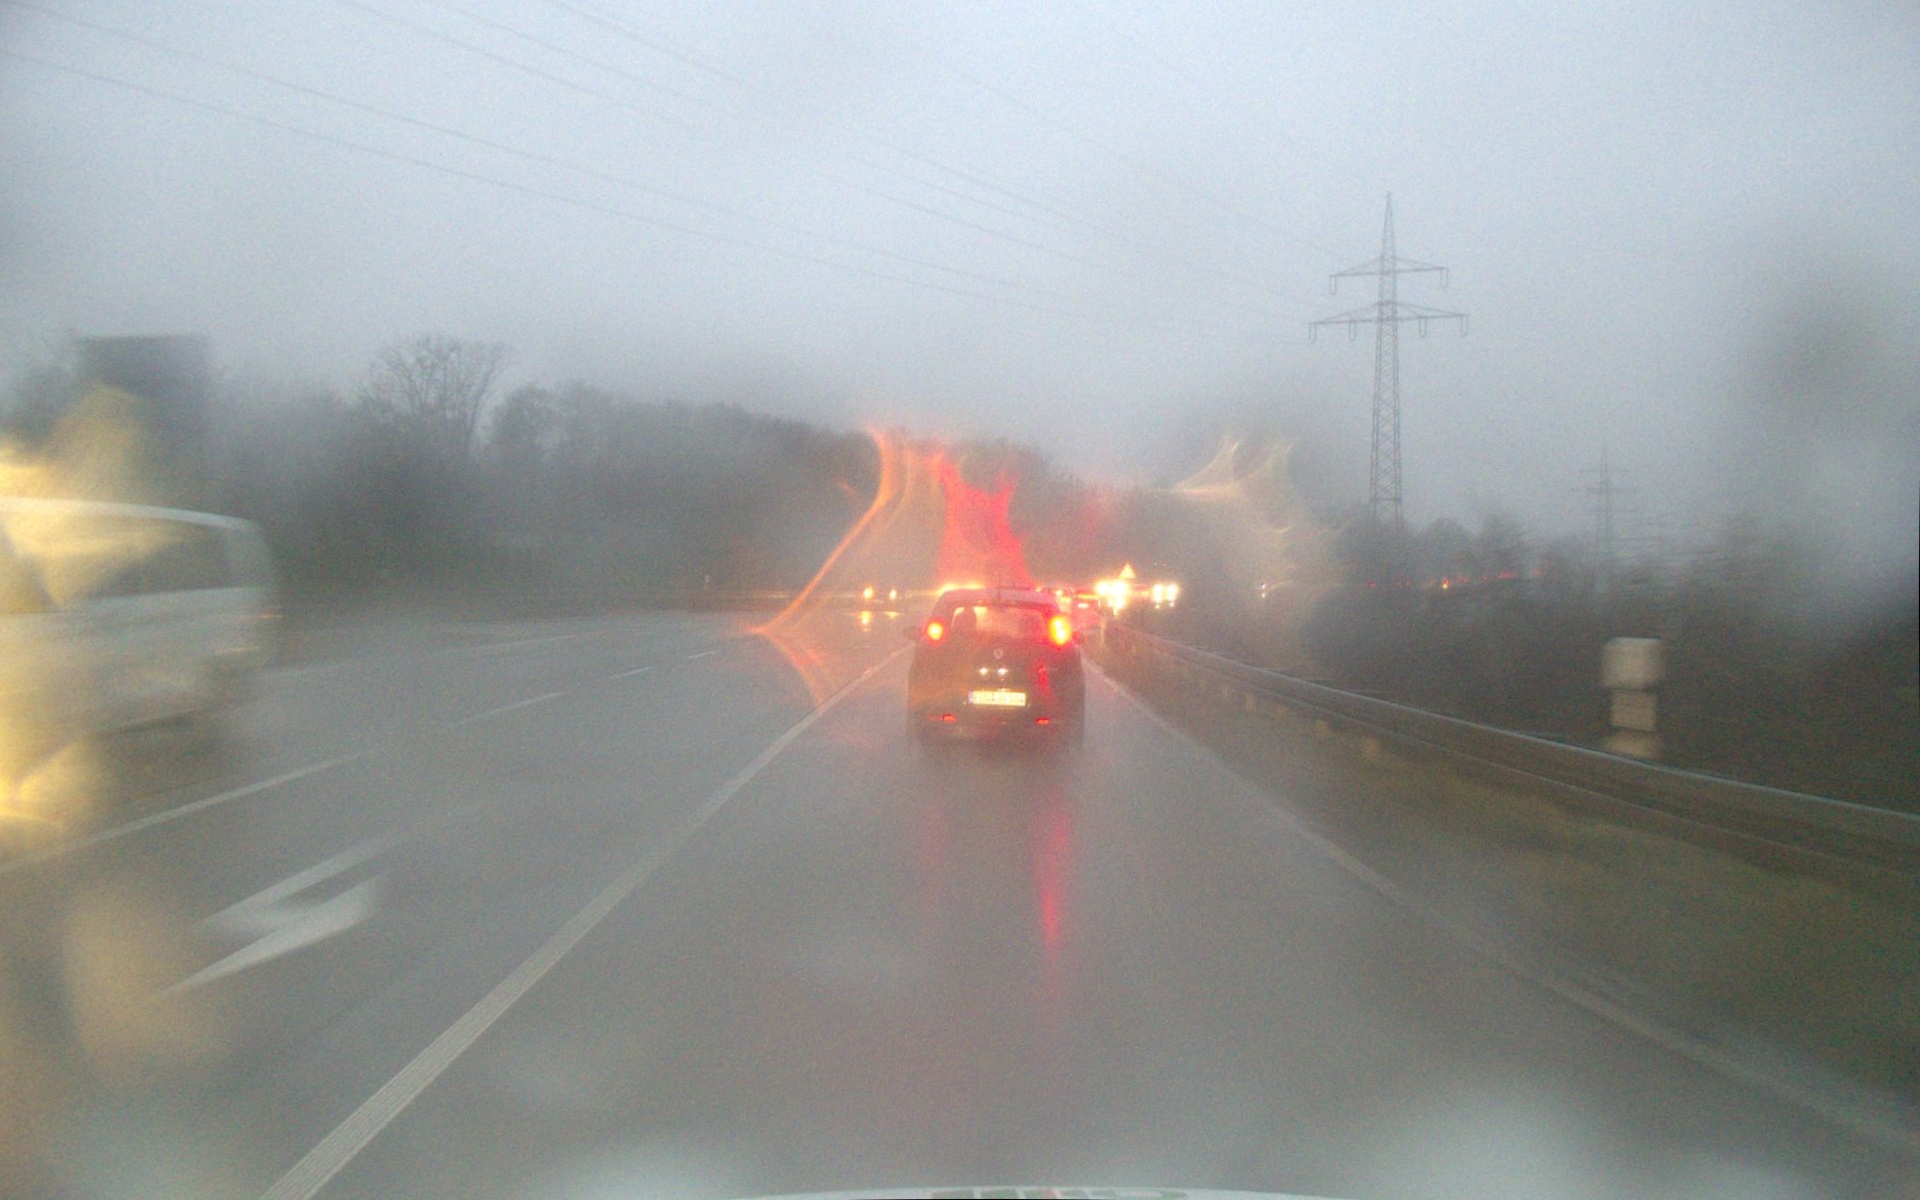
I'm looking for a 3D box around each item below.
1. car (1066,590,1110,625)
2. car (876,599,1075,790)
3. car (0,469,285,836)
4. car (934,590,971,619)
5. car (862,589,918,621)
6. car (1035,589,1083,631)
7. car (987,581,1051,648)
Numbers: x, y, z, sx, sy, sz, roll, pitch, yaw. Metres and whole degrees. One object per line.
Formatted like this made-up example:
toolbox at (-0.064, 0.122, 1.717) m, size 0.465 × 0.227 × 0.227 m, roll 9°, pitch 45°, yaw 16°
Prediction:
car at (7.124, 0.407, 91.883) m, size 1.905 × 1.775 × 4.004 m, roll 3°, pitch 1°, yaw 11°
car at (0.118, 0.825, 16.483) m, size 1.695 × 1.559 × 4.042 m, roll -2°, pitch 1°, yaw -1°
car at (-6.624, 0.306, 11.360) m, size 1.833 × 2.174 × 5.180 m, roll -2°, pitch 1°, yaw -1°
car at (-0.380, 0.226, 91.897) m, size 1.659 × 1.442 × 4.002 m, roll 3°, pitch 1°, yaw 4°
car at (-3.124, 0.193, 74.538) m, size 1.561 × 1.265 × 4.004 m, roll 4°, pitch 2°, yaw 11°
car at (4.474, 0.414, 74.248) m, size 1.905 × 1.775 × 4.003 m, roll 2°, pitch 1°, yaw 6°
car at (1.876, 0.431, 54.022) m, size 1.906 × 2.048 × 4.000 m, roll 2°, pitch 1°, yaw 0°
